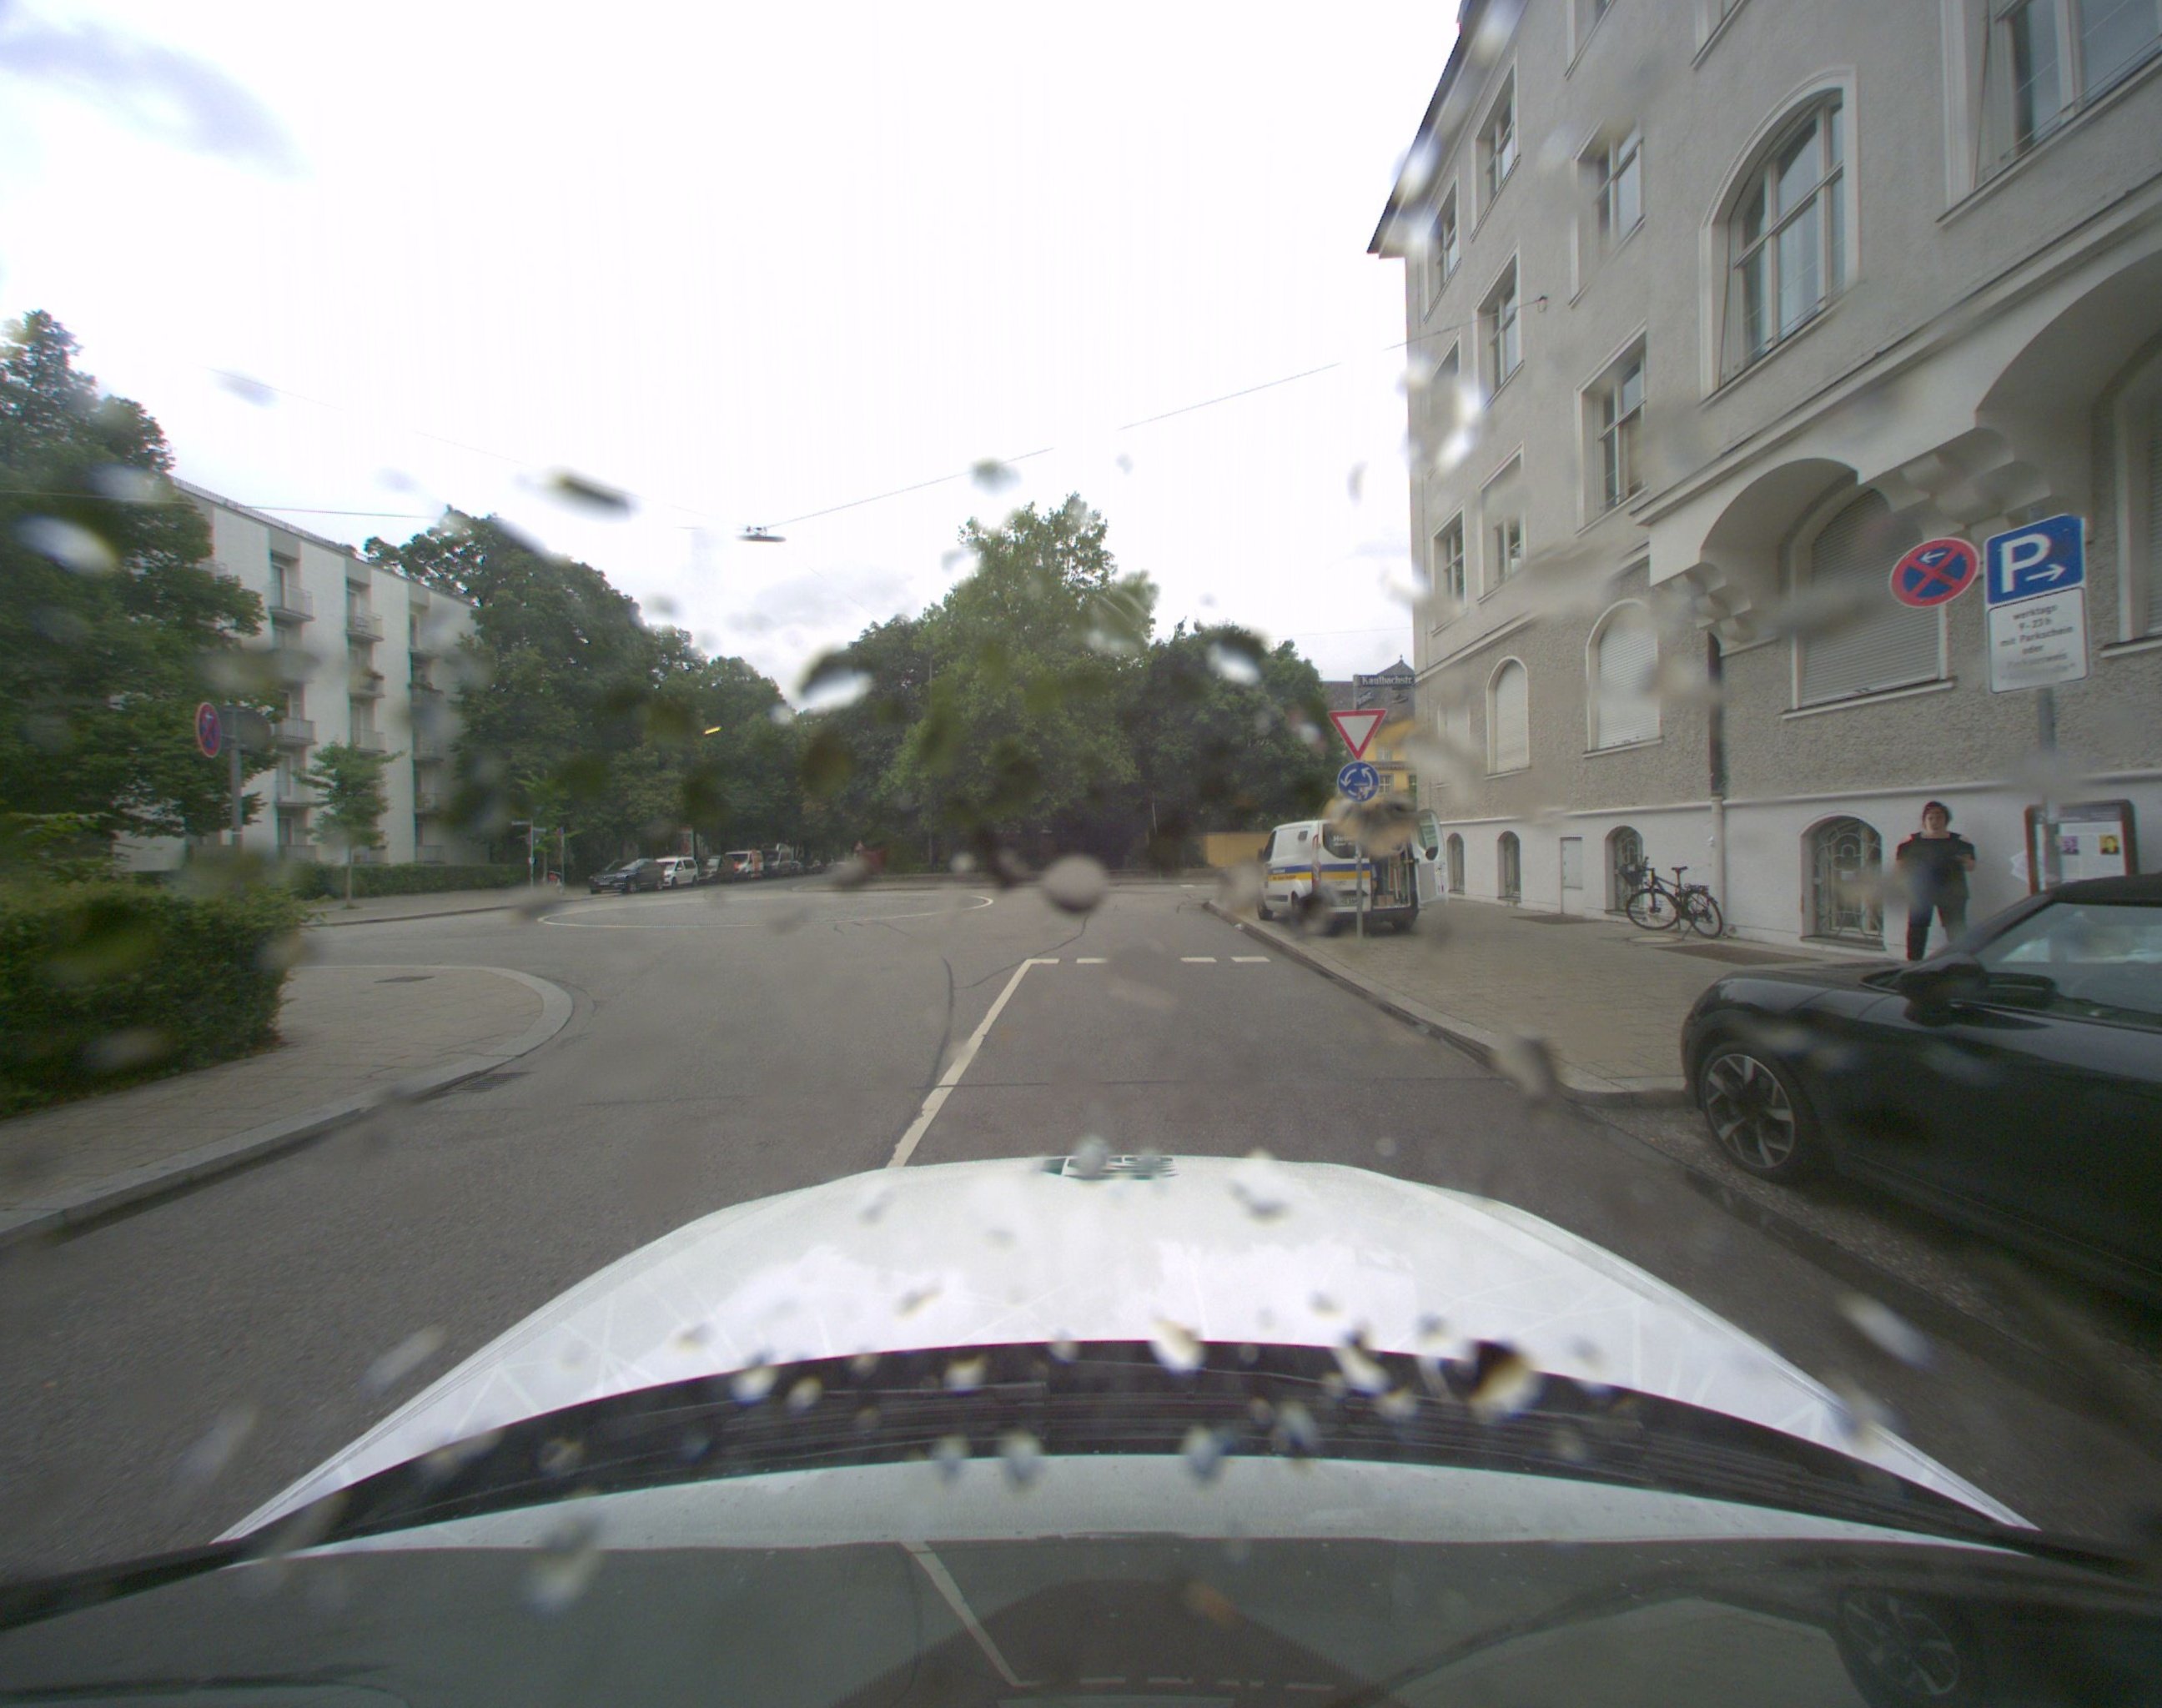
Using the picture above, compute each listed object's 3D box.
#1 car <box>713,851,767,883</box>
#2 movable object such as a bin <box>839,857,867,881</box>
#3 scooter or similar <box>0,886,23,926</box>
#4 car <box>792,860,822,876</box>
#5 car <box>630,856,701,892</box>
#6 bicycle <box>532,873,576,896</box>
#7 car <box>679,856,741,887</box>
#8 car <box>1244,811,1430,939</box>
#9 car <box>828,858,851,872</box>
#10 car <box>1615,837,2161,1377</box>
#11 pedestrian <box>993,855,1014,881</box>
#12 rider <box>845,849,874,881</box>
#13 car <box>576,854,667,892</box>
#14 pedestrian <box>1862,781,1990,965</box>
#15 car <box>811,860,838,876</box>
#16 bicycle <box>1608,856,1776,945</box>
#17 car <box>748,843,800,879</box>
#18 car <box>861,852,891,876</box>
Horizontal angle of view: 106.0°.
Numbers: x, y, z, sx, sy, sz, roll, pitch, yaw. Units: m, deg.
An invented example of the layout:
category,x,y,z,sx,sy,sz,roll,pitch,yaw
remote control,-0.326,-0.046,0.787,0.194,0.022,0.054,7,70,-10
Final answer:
category,x,y,z,sx,sy,sz,roll,pitch,yaw
car,-25.280,0.934,60.567,2.107,2.251,5.188,-1,0,-4
movable object such as a bin,-12.666,0.821,45.269,1.072,1.267,1.089,-4,0,8
scooter or similar,-28.435,1.369,21.235,0.378,1.025,1.136,-1,0,-13
car,-27.118,1.374,80.731,1.892,1.538,4.067,-1,0,-5
car,-23.776,1.090,46.818,1.923,1.894,4.859,-1,0,-5
bicycle,-25.490,1.452,39.432,0.909,1.051,1.969,-1,0,-3
car,-24.242,1.095,53.432,2.061,1.859,4.979,-1,0,-4
car,4.560,0.315,15.412,1.910,1.962,4.926,-2,0,0
car,-29.686,1.328,100.300,1.892,1.571,4.067,-1,0,-5
car,3.784,0.680,2.622,1.657,1.457,3.898,-1,0,2
pedestrian,-3.650,0.672,38.390,0.807,1.189,0.921,-1,0,7
rider,-12.544,0.615,46.128,1.076,1.667,1.142,-4,0,8
car,-23.226,0.911,41.414,2.061,1.767,4.900,-1,0,-4
pedestrian,8.455,0.194,8.170,0.697,1.737,0.727,-2,-3,-44
car,-28.061,1.520,89.236,1.892,1.571,4.067,-1,0,-5
bicycle,8.629,0.603,11.656,0.692,1.094,2.284,-3,0,2
car,-26.264,0.586,69.888,2.330,2.922,6.569,-1,0,-4
car,-17.021,0.788,67.918,2.041,1.922,4.431,-1,0,-10
